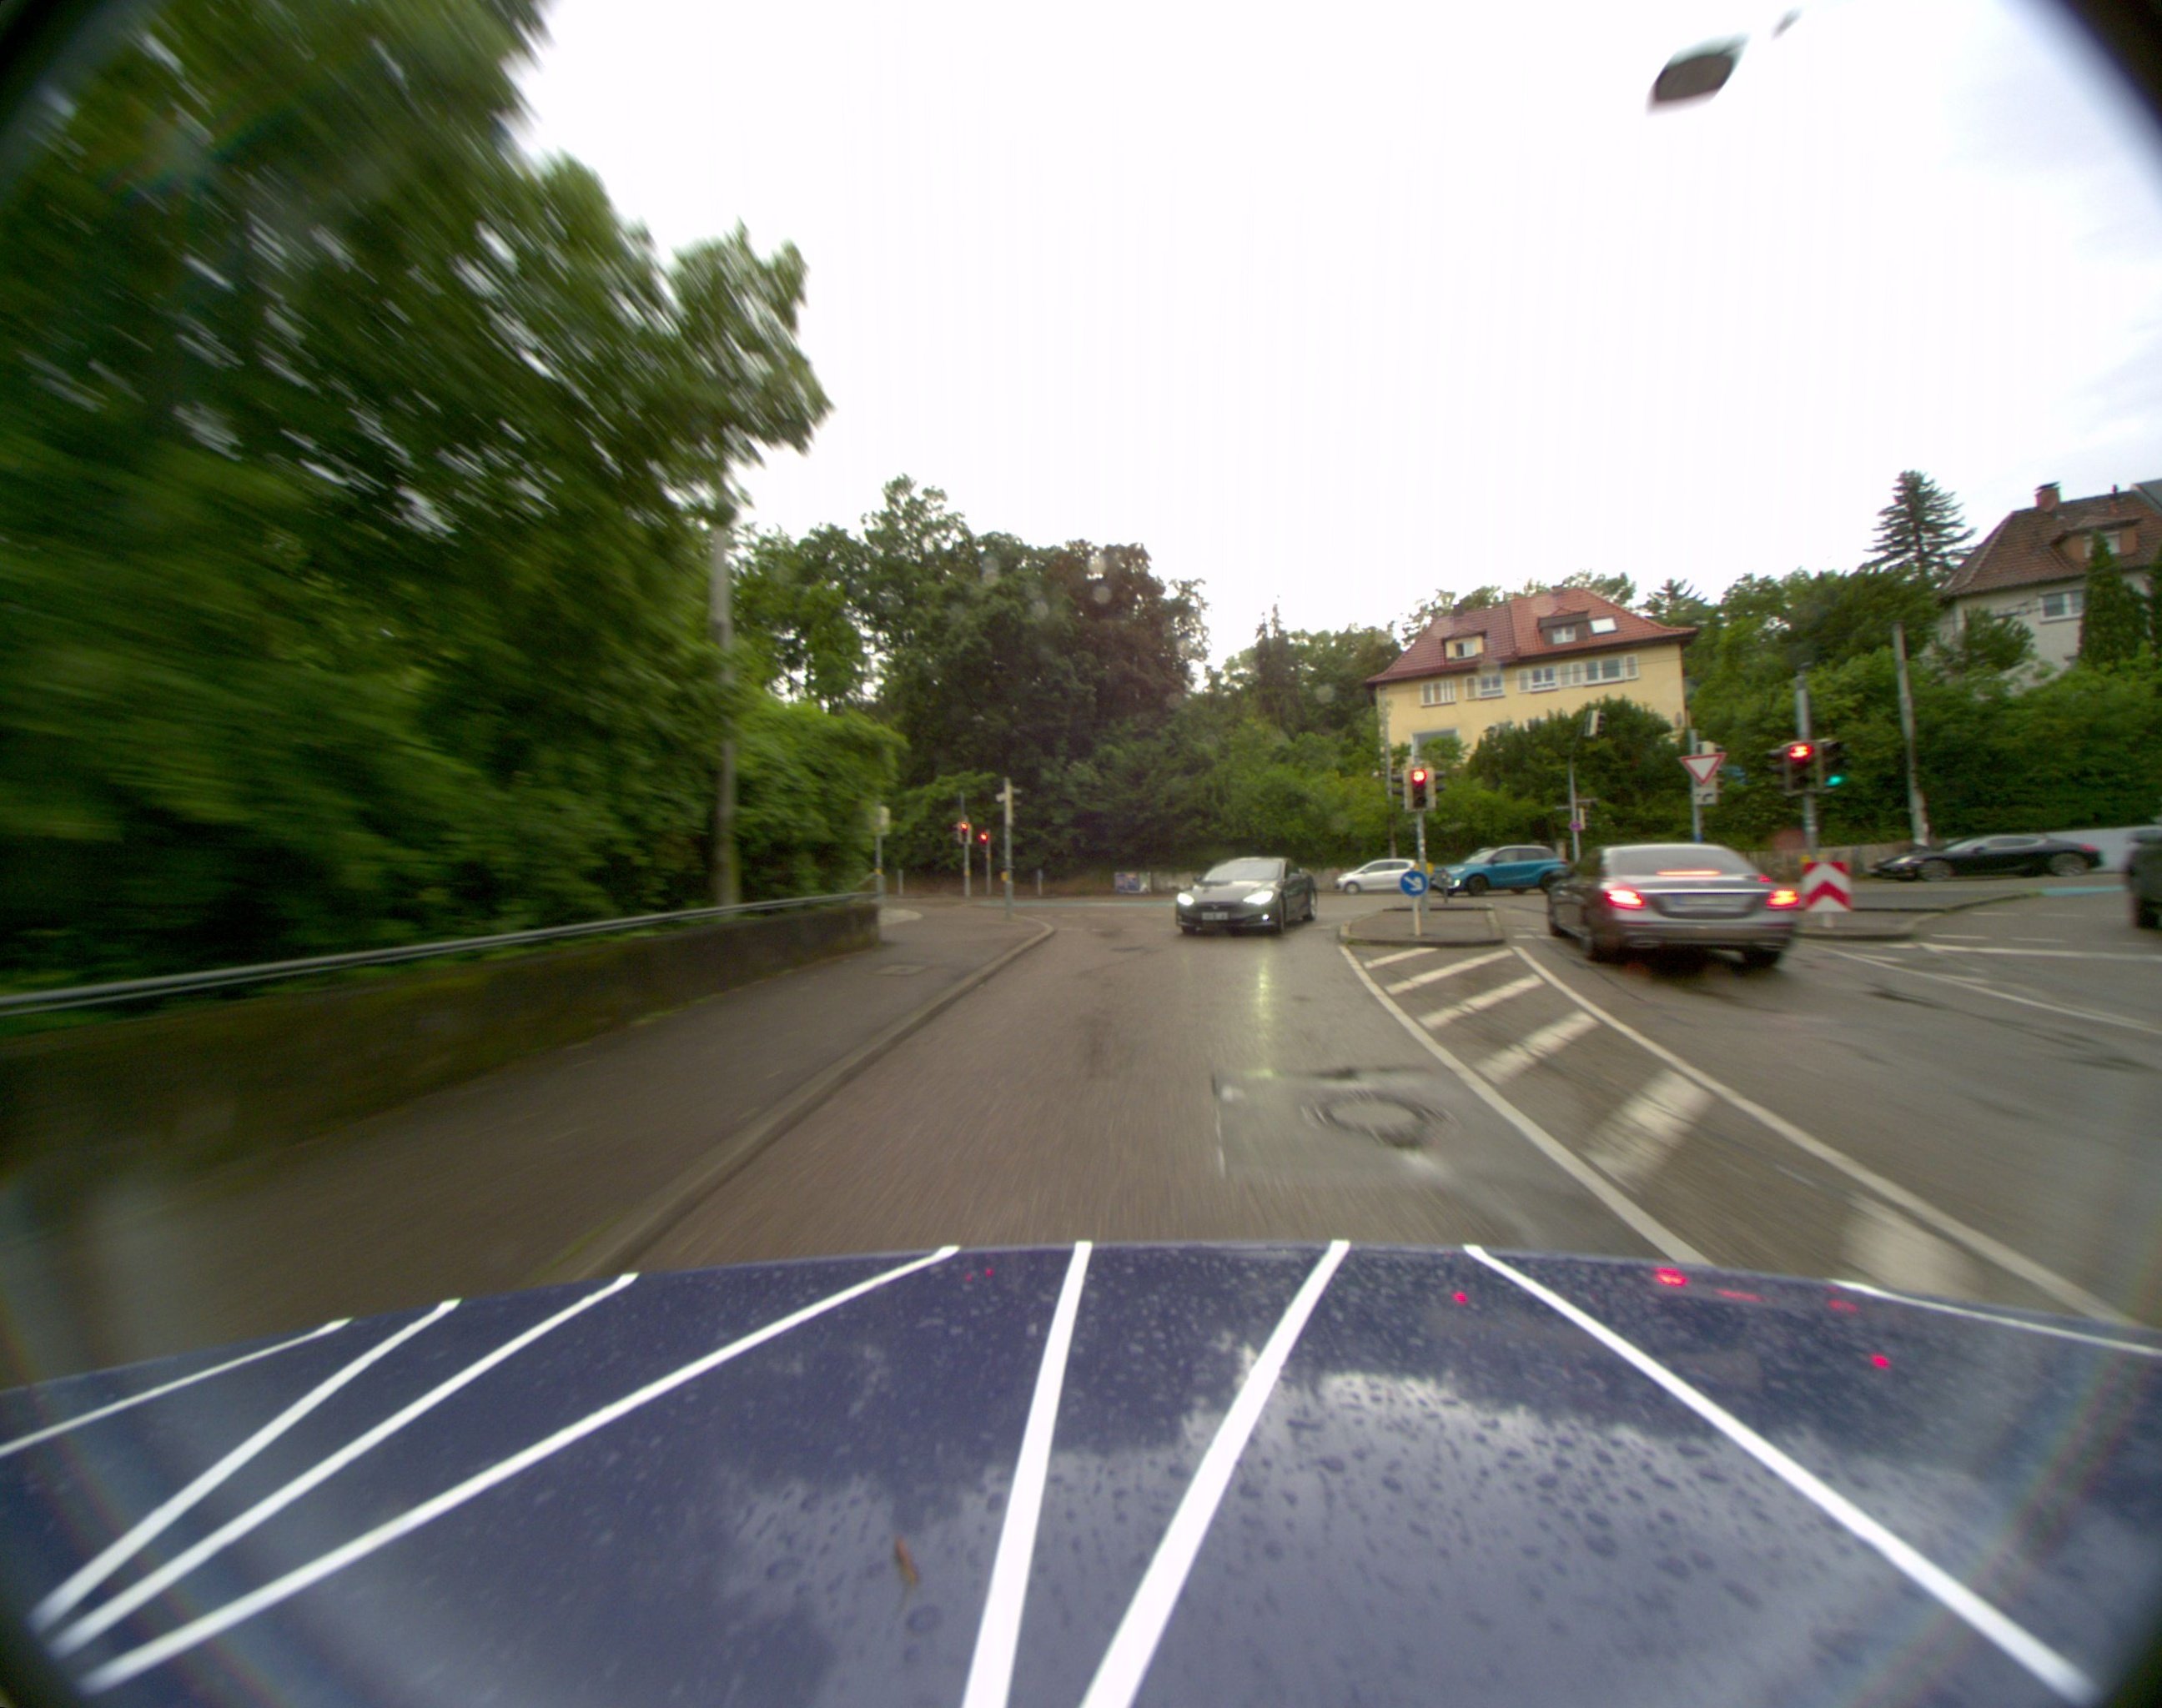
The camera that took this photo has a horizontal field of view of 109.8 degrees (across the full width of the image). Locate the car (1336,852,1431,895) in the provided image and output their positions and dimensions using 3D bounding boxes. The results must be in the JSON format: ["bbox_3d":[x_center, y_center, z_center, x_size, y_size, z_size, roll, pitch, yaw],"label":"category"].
[{"bbox_3d":[12.208,0.822,30.831,3.359,1.442,1.556,-4,-4,17],"label":"car"}]

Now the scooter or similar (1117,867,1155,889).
[{"bbox_3d":[2.748,1.197,37.937,1.765,1.068,0.605,-2,-2,20],"label":"scooter or similar"}]

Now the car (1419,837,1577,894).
[{"bbox_3d":[13.450,0.407,24.684,4.038,1.599,1.803,-2,-3,1],"label":"car"}]

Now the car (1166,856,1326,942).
[{"bbox_3d":[3.462,0.774,15.240,1.831,1.384,4.332,0,1,31],"label":"car"}]

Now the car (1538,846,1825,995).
[{"bbox_3d":[7.489,0.645,10.070,1.860,1.387,4.602,0,2,24],"label":"car"}]

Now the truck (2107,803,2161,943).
[{"bbox_3d":[14.544,0.276,8.941,1.883,1.838,5.290,1,2,42],"label":"truck"}]

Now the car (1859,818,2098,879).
[{"bbox_3d":[25.451,-0.103,21.790,4.031,1.451,1.763,-4,-2,34],"label":"car"}]
